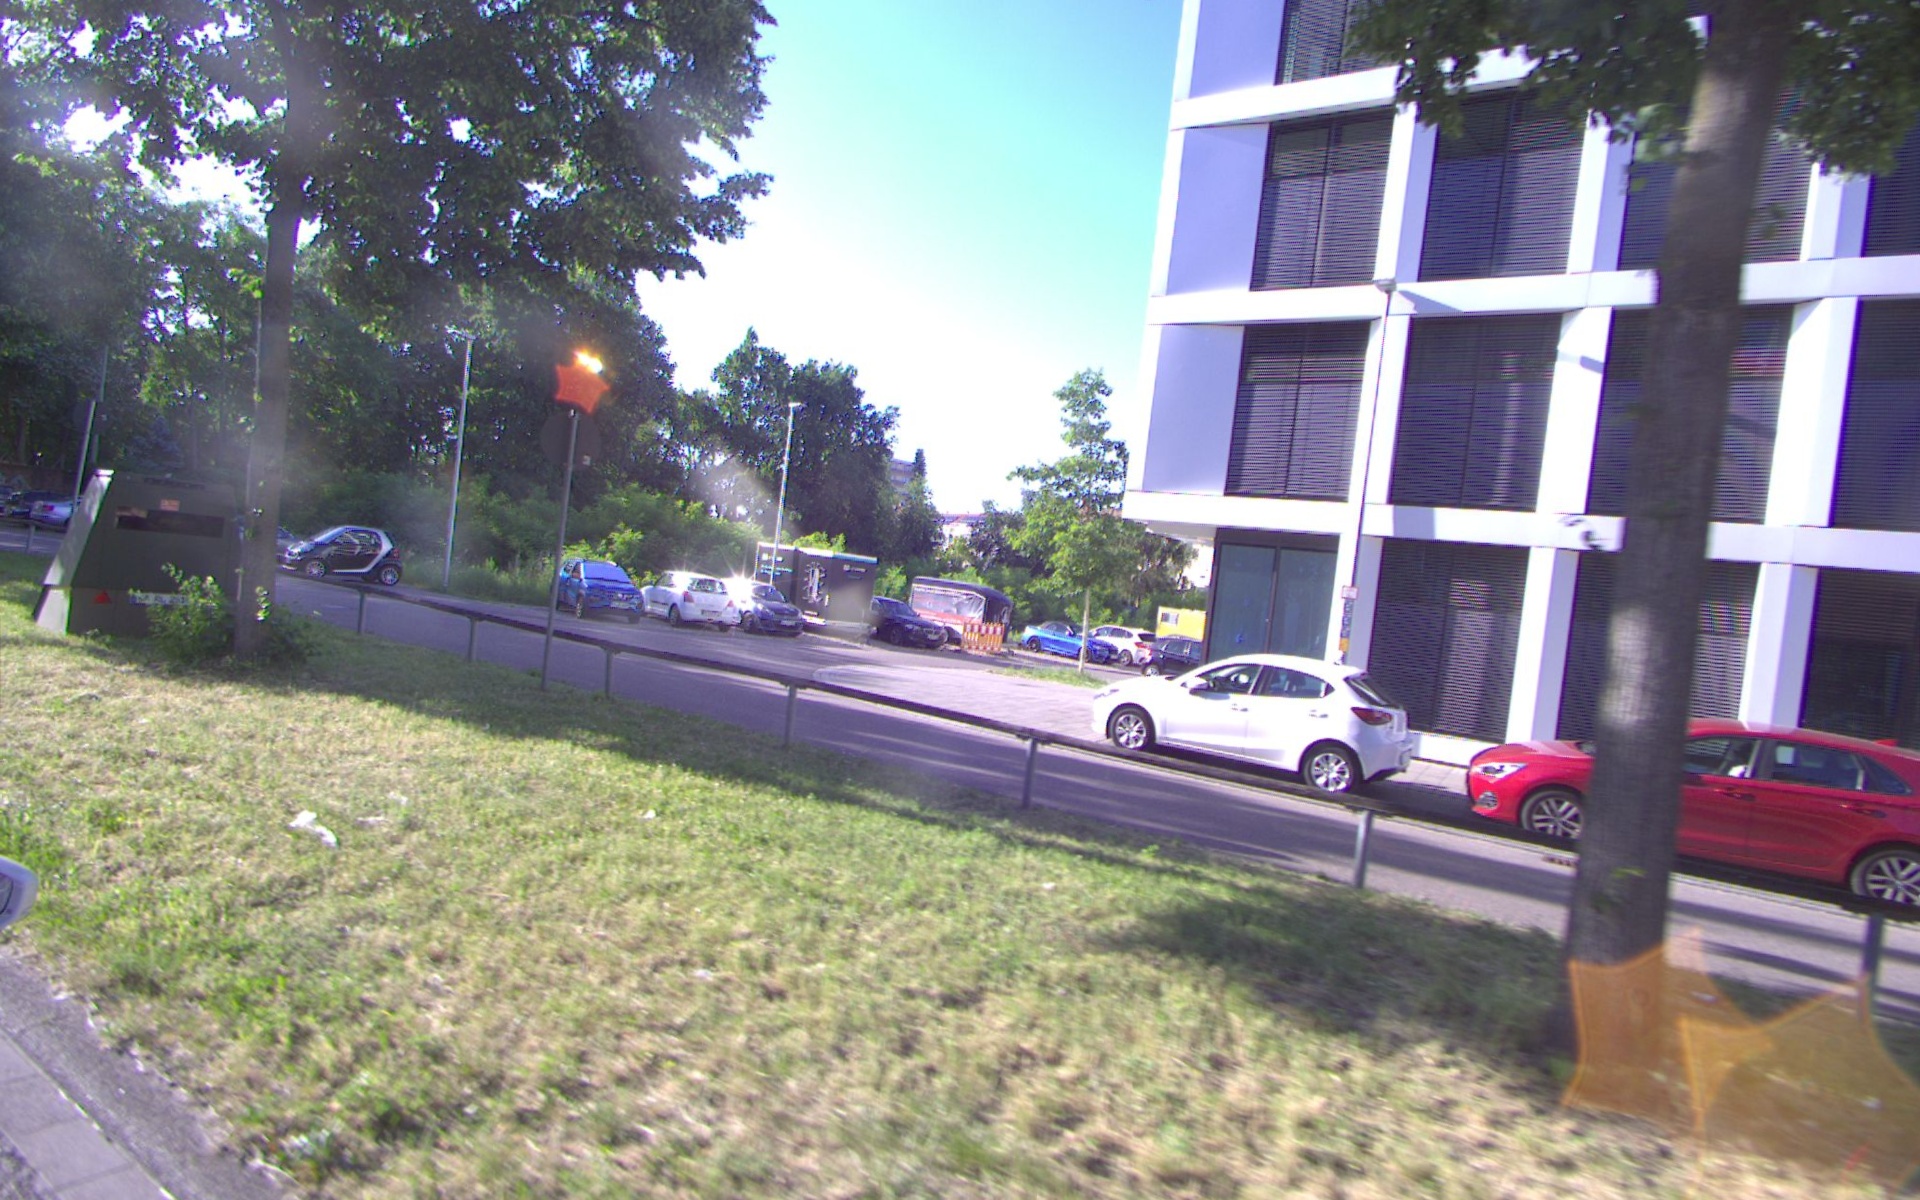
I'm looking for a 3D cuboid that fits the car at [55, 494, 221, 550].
[{"bbox_3d":[-30.412,-2.864,37.368,1.873,1.497,4.332,8,2,28],"label":"car"}]

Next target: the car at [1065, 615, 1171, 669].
[{"bbox_3d":[6.697,1.779,42.958,1.988,1.637,3.951,9,0,-42],"label":"car"}]

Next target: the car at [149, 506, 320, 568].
[{"bbox_3d":[-23.342,-2.004,32.505,1.687,1.487,4.081,7,1,33],"label":"car"}]

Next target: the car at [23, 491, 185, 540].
[{"bbox_3d":[-32.732,-3.204,38.561,1.968,1.430,4.375,7,4,34],"label":"car"}]

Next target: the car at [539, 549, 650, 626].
[{"bbox_3d":[-9.881,-0.372,27.022,1.585,1.566,3.777,6,2,-38],"label":"car"}]

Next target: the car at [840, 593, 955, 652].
[{"bbox_3d":[-2.167,0.749,34.217,1.776,1.513,3.835,9,-2,-42],"label":"car"}]

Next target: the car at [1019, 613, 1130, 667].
[{"bbox_3d":[4.632,1.616,41.053,1.821,1.492,4.220,8,1,-42],"label":"car"}]

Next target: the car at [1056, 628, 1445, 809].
[{"bbox_3d":[3.677,1.358,13.028,4.332,1.506,1.992,7,3,35],"label":"car"}]

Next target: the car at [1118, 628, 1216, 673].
[{"bbox_3d":[9.294,2.247,45.387,1.724,1.368,3.951,9,0,-42],"label":"car"}]

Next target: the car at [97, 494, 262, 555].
[{"bbox_3d":[-27.537,-2.632,35.643,1.752,1.517,4.197,7,0,29],"label":"car"}]

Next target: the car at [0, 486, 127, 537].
[{"bbox_3d":[-38.497,-3.772,43.011,1.734,1.523,3.997,7,0,26],"label":"car"}]

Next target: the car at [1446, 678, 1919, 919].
[{"bbox_3d":[7.479,1.876,10.304,4.202,1.506,1.864,7,2,32],"label":"car"}]

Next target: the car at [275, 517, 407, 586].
[{"bbox_3d":[-17.227,-1.322,28.072,1.441,1.569,2.761,7,1,41],"label":"car"}]

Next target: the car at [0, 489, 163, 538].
[{"bbox_3d":[-35.097,-3.434,40.181,1.967,1.425,4.718,7,3,32],"label":"car"}]

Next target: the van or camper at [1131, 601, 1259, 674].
[{"bbox_3d":[11.759,1.848,50.704,5.774,2.926,1.990,6,-2,44],"label":"van or camper"}]

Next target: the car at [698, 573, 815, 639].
[{"bbox_3d":[-6.203,0.159,30.394,1.711,1.558,3.908,9,-2,-39],"label":"car"}]

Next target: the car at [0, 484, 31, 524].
[{"bbox_3d":[-44.109,-4.509,45.486,3.934,1.592,1.997,7,-2,32],"label":"car"}]

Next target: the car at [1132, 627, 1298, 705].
[{"bbox_3d":[7.137,1.839,28.391,1.989,1.592,3.951,9,-2,-43],"label":"car"}]

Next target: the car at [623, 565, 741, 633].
[{"bbox_3d":[-8.079,-0.063,29.041,1.740,1.553,3.839,9,-2,-39],"label":"car"}]
